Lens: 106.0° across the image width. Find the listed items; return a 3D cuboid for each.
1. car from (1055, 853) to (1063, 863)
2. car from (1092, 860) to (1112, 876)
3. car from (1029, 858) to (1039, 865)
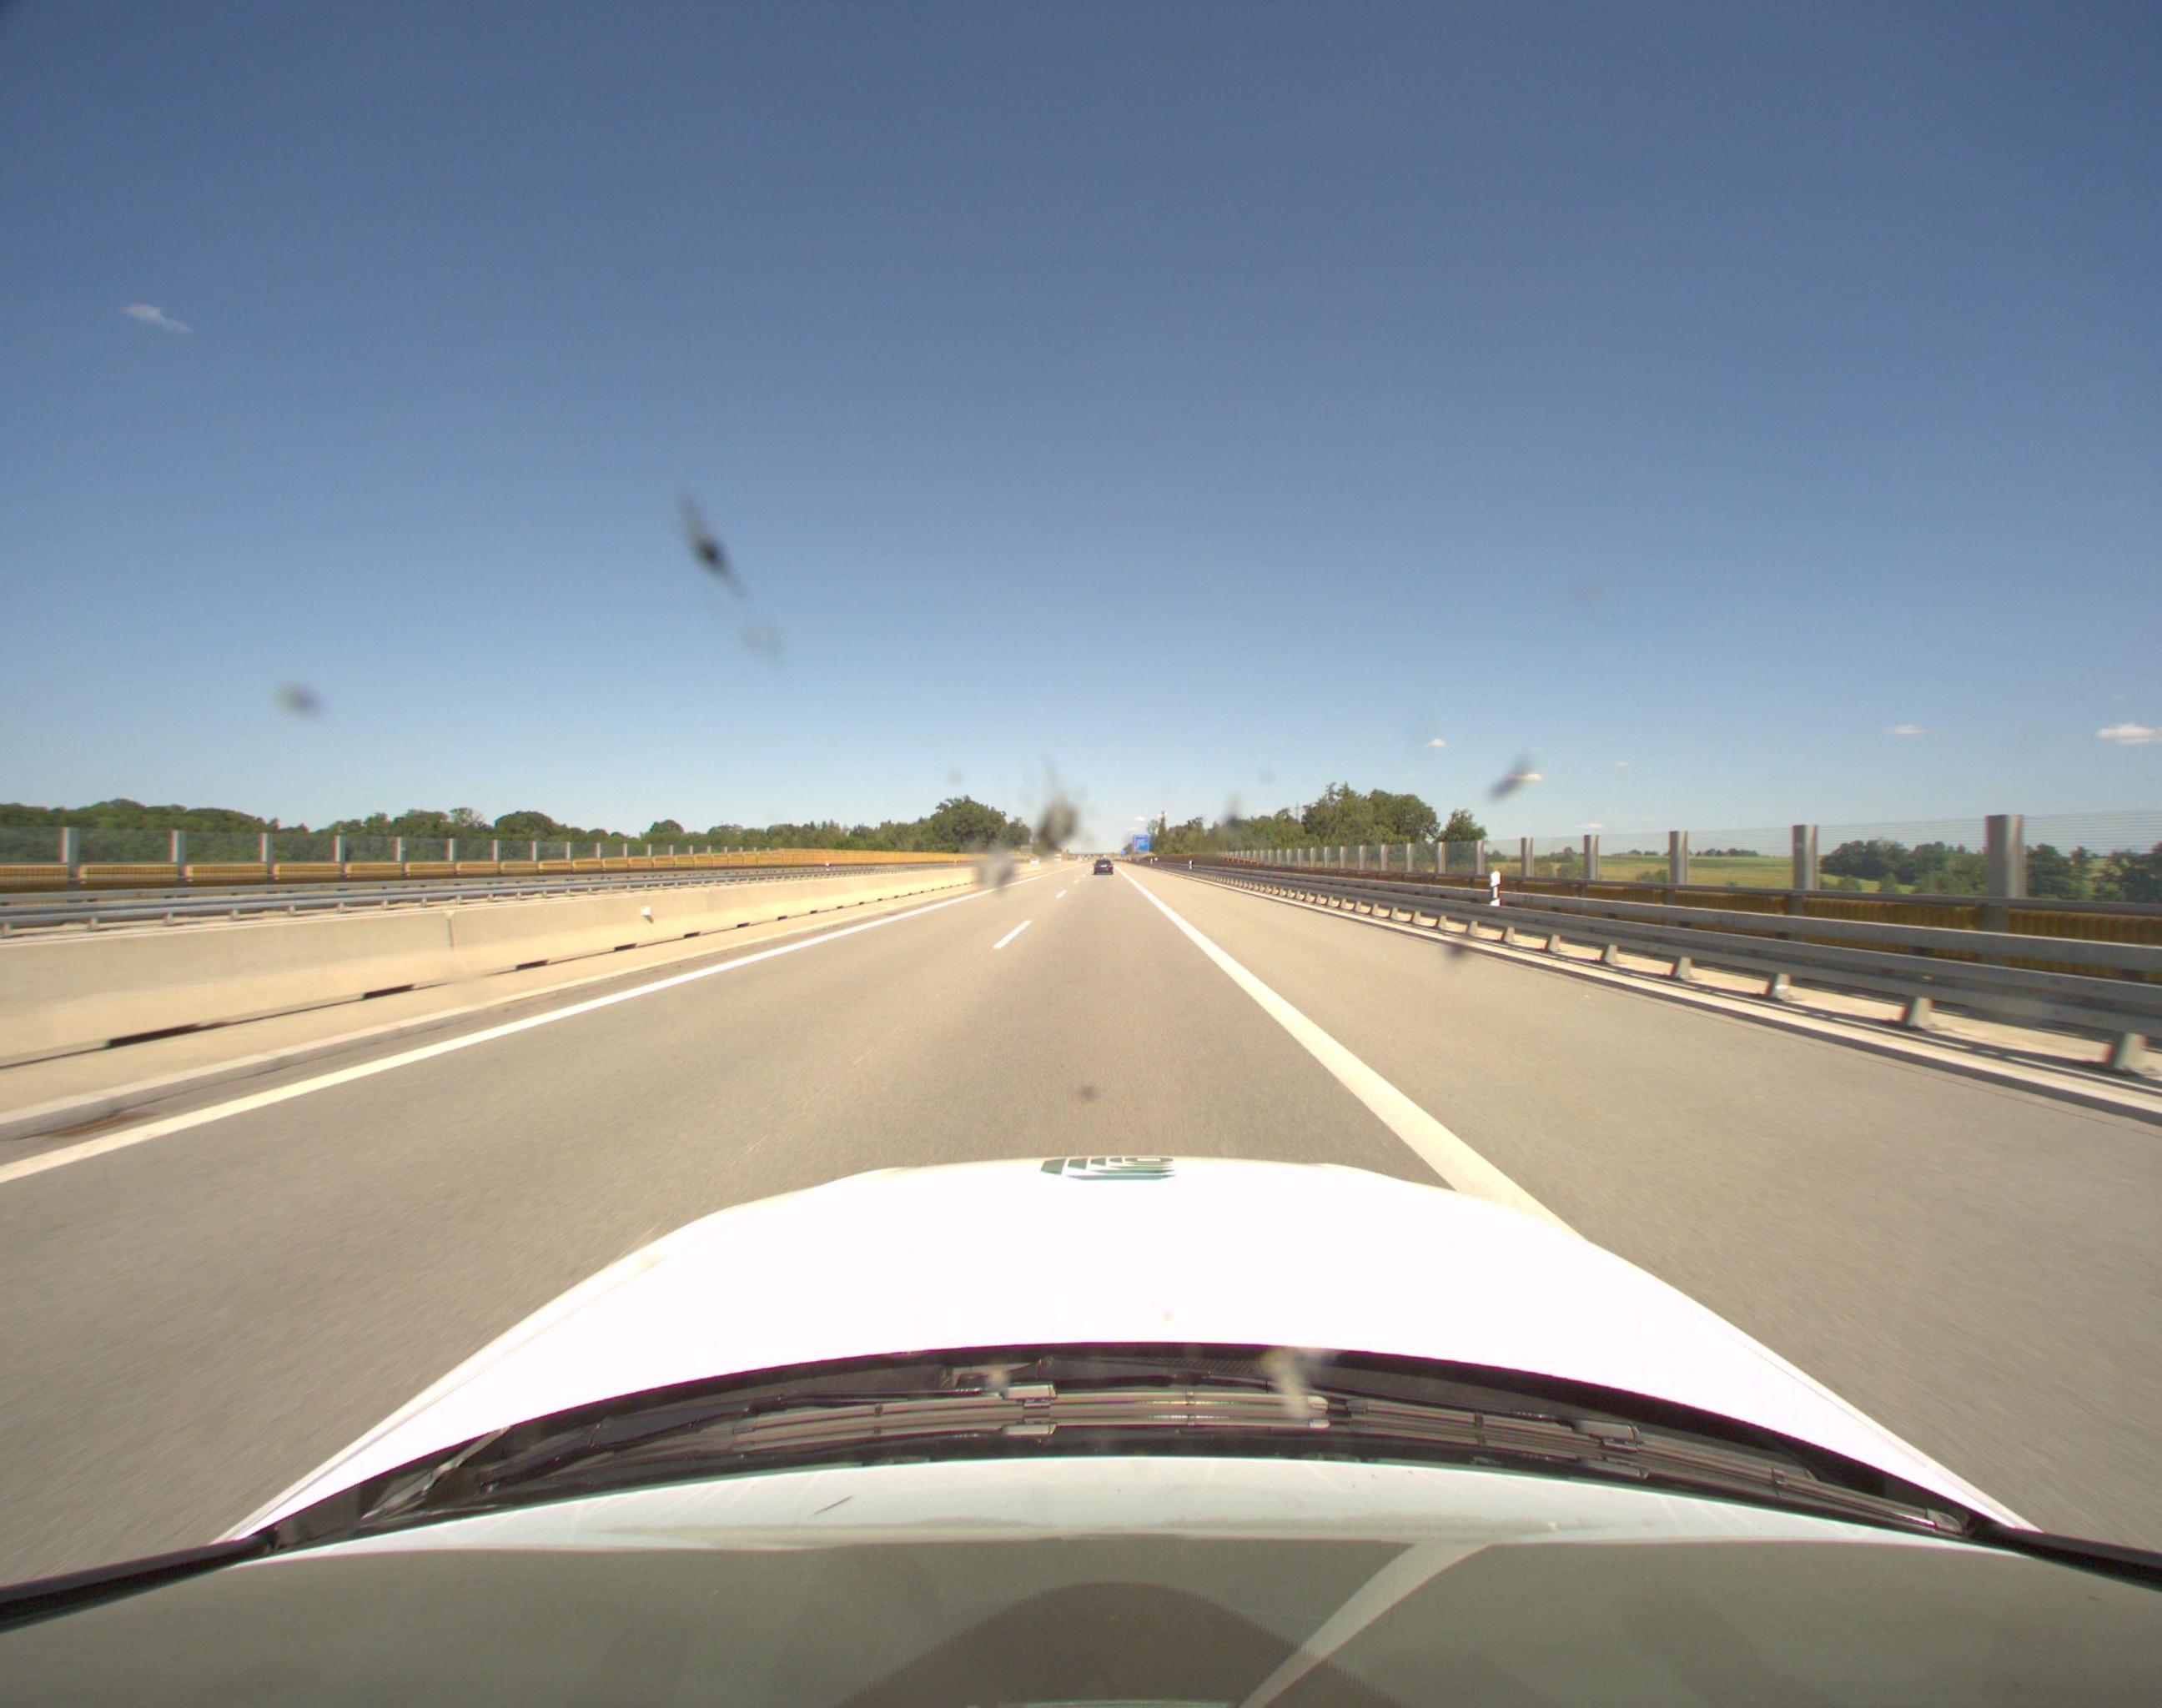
[{"bbox_3d":[-6.137,1.056,228.850,2.016,2.670,6.487,0,0,1],"label":"car"},{"bbox_3d":[1.955,1.276,74.373,1.783,1.374,3.918,0,0,2],"label":"car"},{"bbox_3d":[-10.061,1.611,175.245,1.641,1.508,4.334,0,0,2],"label":"car"}]
